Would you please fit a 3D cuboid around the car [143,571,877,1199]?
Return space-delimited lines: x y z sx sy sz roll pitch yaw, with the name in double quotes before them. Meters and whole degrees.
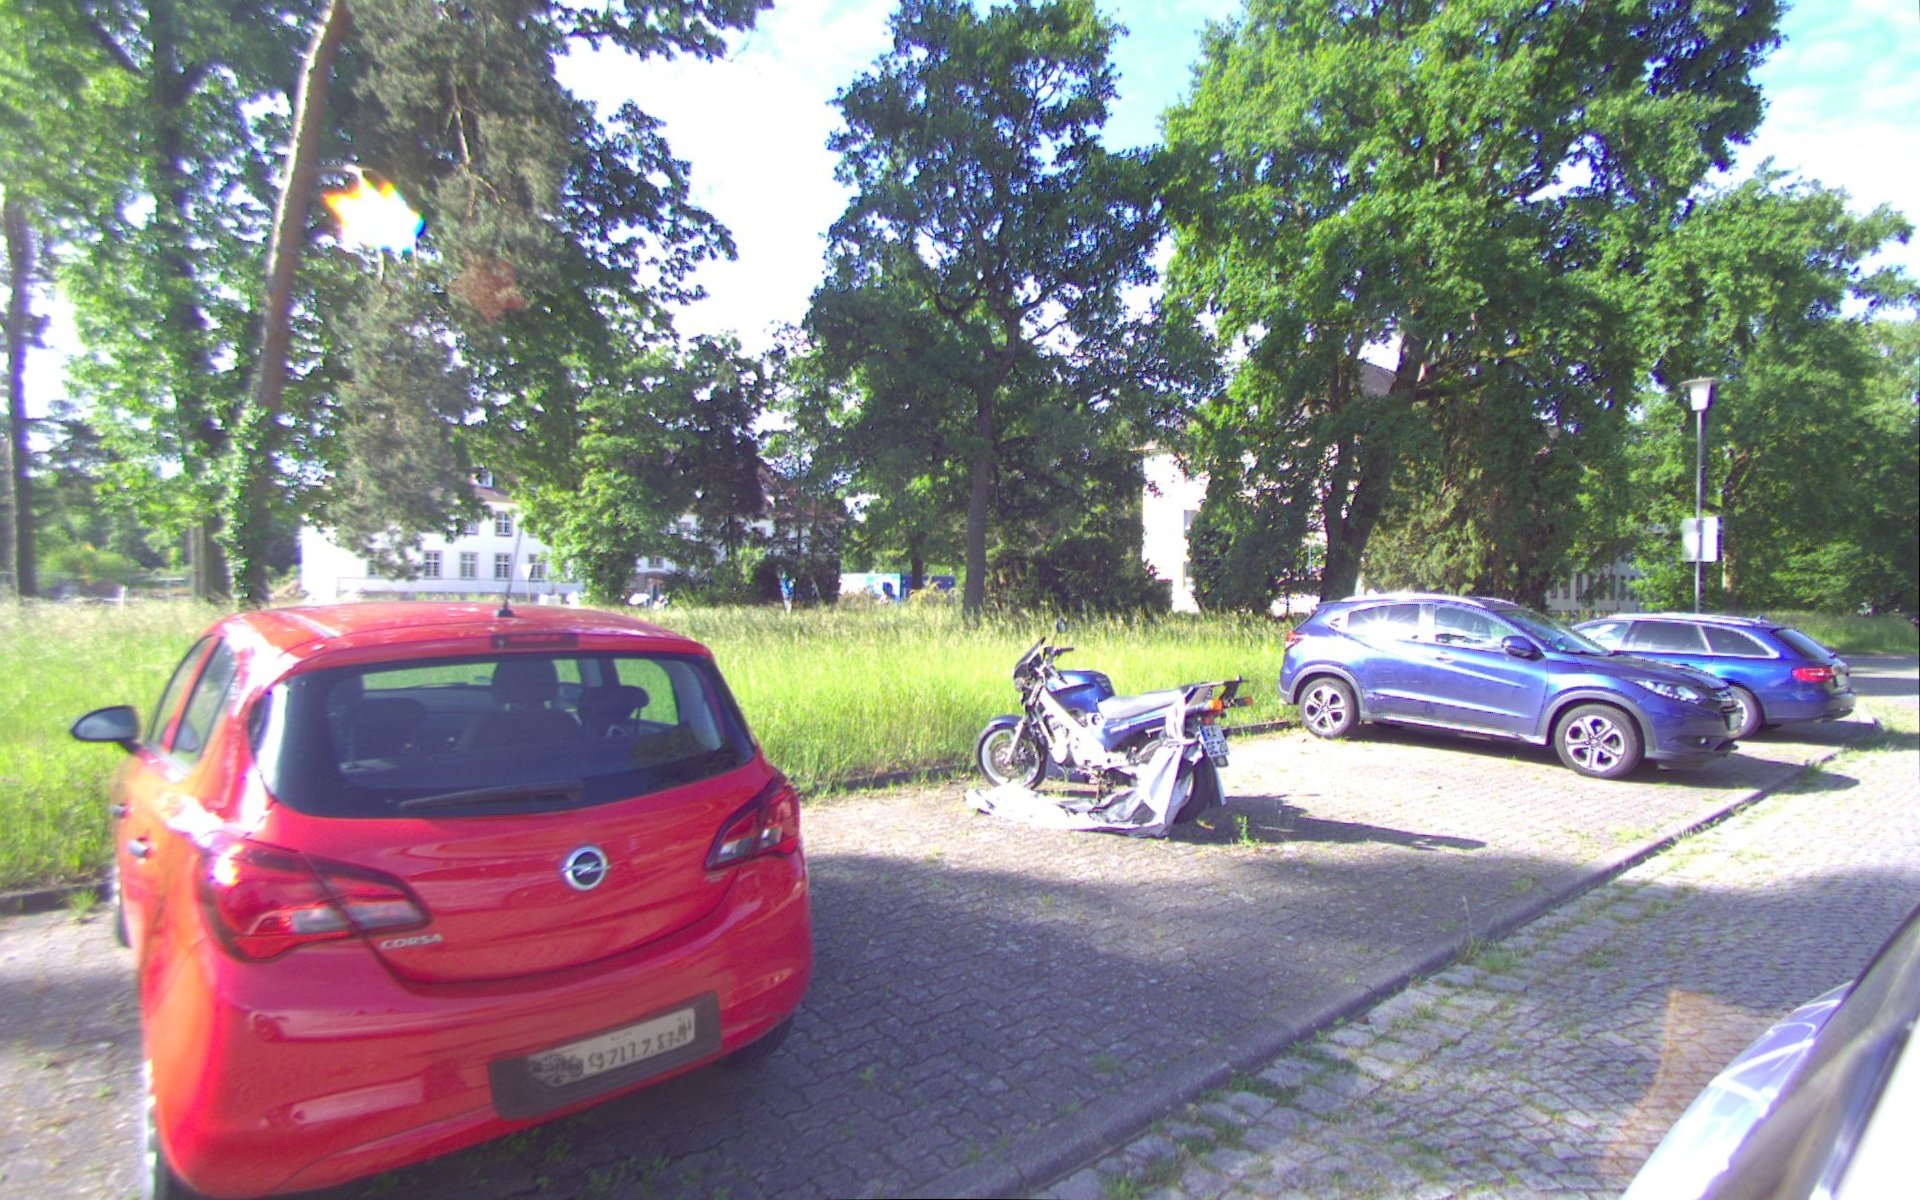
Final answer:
"car" -2.122 0.689 3.965 1.513 1.514 3.993 0 0 -41

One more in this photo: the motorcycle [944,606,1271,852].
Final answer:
"motorcycle" 0.916 0.746 6.947 0.863 1.370 2.235 1 0 -38

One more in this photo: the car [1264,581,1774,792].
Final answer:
"car" 5.458 0.674 10.378 1.622 1.618 4.271 0 2 -41

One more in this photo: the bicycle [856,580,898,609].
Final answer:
"bicycle" -6.044 -0.412 74.052 3.078 2.038 0.952 -2 2 -42

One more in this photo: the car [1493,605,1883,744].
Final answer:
"car" 9.245 0.821 13.097 1.716 1.485 3.808 0 0 -39

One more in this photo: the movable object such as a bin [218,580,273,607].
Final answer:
"movable object such as a bin" -54.776 -0.525 77.540 5.711 2.039 2.093 1 1 40

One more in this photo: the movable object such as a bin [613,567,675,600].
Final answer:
"movable object such as a bin" -29.117 -1.482 93.310 4.975 2.937 2.181 0 0 -34
